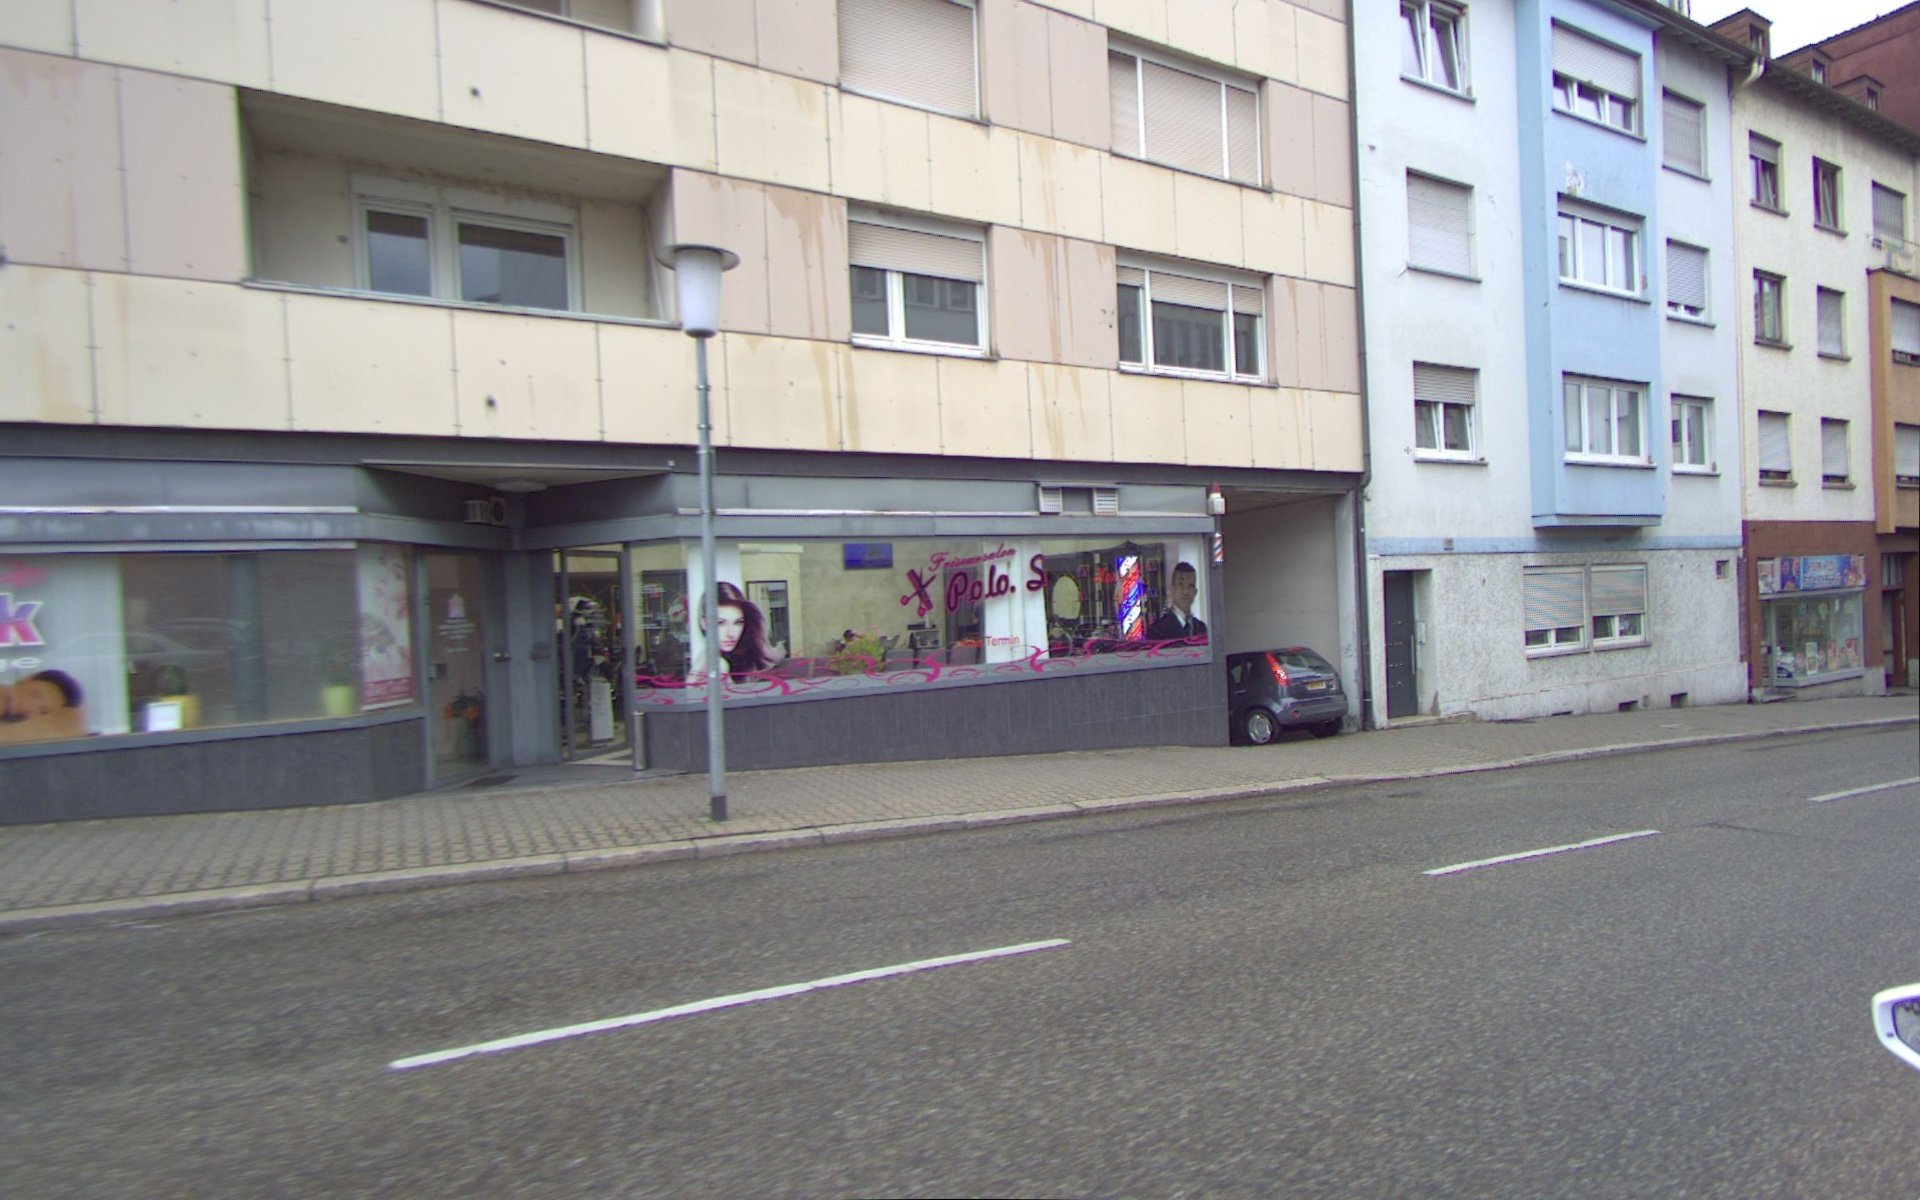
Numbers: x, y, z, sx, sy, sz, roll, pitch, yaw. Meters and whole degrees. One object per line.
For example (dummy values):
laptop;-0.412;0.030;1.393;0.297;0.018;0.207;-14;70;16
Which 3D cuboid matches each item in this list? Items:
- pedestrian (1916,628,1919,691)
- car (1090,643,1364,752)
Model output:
pedestrian;24.491;1.504;25.035;0.717;1.581;0.821;1;1;-38
car;4.075;1.595;15.921;1.662;1.367;3.964;-1;-7;-36
